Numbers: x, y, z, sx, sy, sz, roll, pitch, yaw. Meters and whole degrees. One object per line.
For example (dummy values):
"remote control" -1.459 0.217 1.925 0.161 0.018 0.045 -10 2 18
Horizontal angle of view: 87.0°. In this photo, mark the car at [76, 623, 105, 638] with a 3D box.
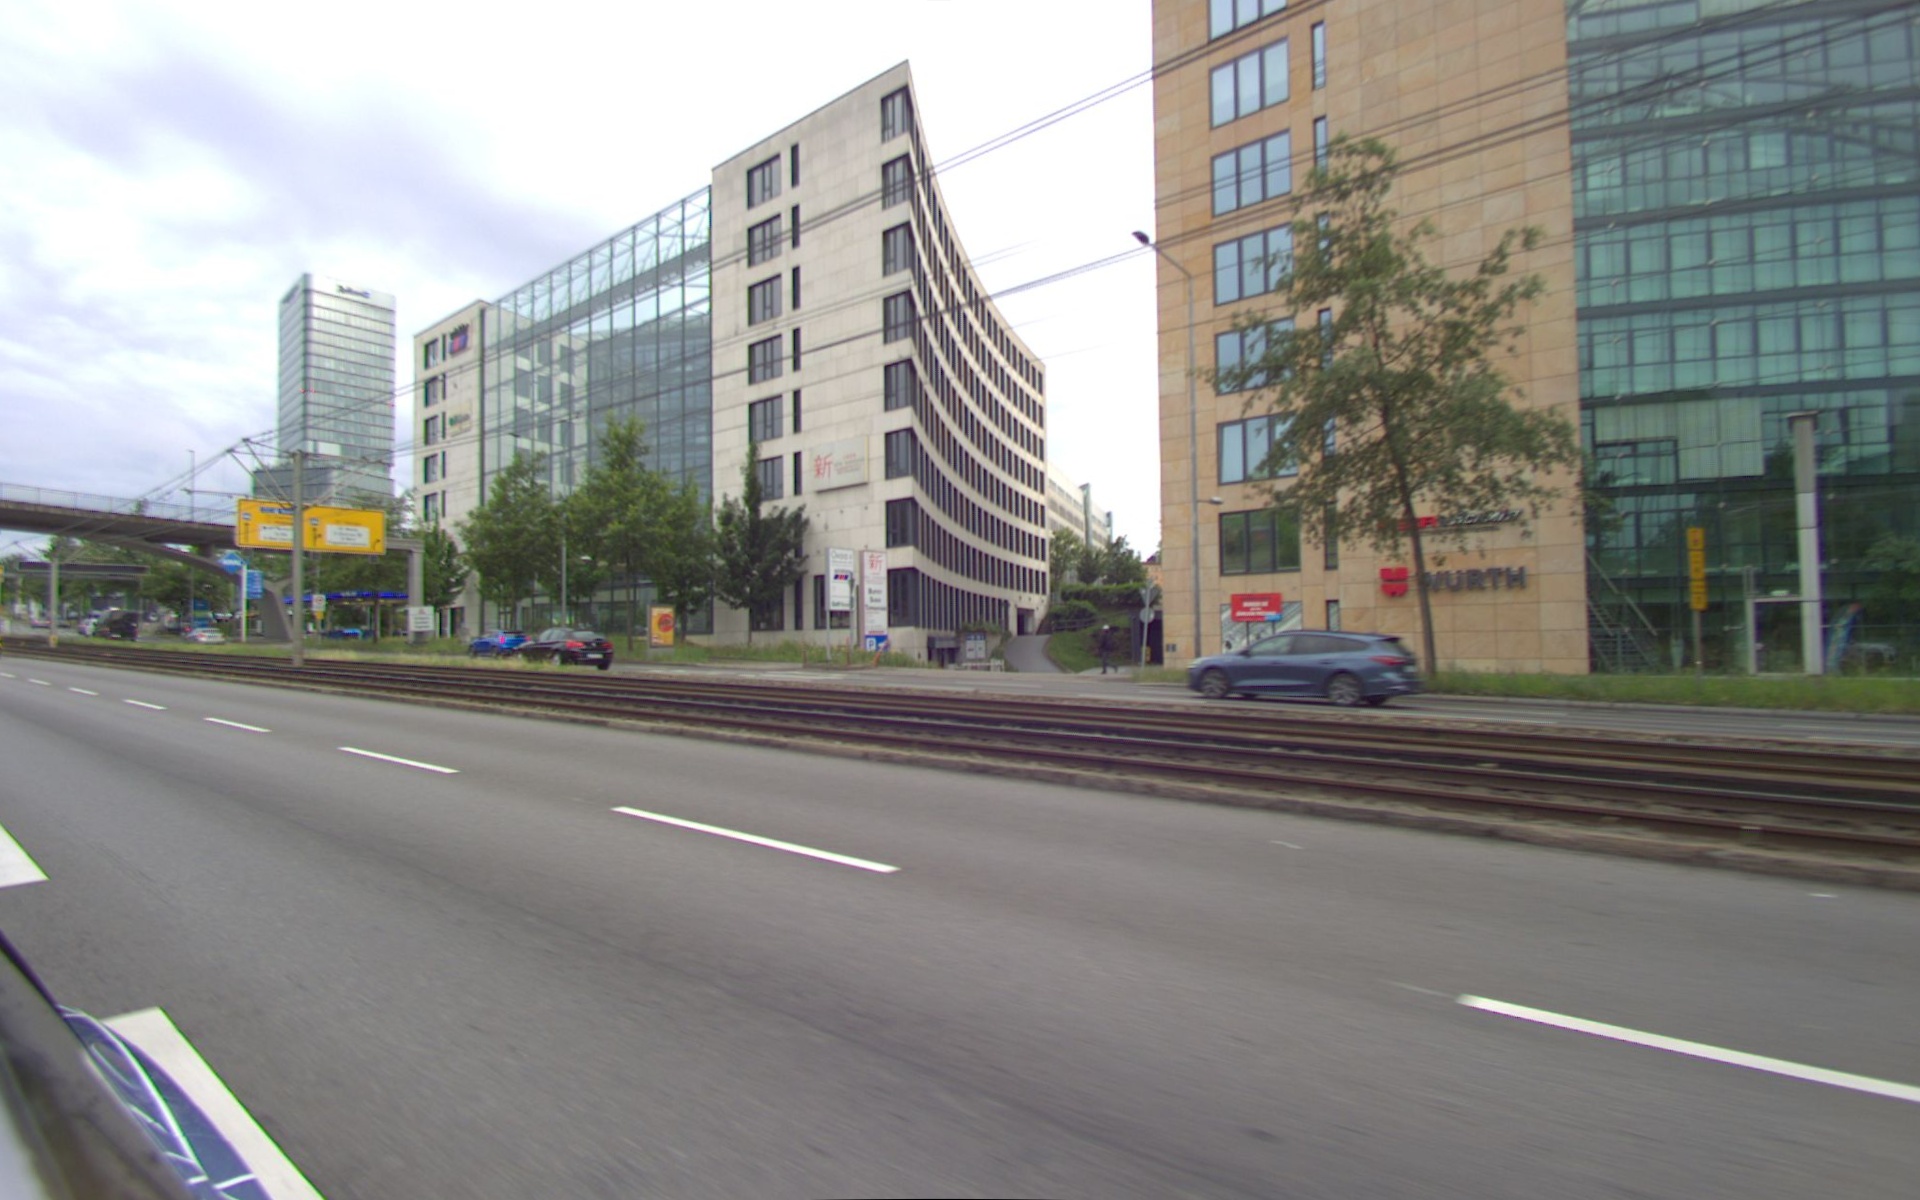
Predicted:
"car" -94.013 3.288 109.398 4.488 1.618 1.791 -1 0 41

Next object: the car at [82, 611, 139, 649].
"car" -66.531 2.341 79.232 5.605 2.839 2.360 -1 0 39

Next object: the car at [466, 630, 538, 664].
"car" -22.875 2.313 50.509 4.023 1.465 1.822 1 1 41

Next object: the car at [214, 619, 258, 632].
"car" -92.361 3.253 129.199 1.885 1.515 4.306 1 1 43

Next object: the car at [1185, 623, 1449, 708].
"car" 7.024 1.287 20.227 4.651 1.497 1.821 -2 -5 41

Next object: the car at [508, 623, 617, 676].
"car" -13.269 1.587 33.678 4.200 1.513 1.753 1 1 43

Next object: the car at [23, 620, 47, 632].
"car" -119.728 3.339 130.980 4.271 1.545 1.792 -1 0 40

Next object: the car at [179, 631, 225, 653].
"car" -56.619 3.120 75.535 4.813 1.545 1.742 -1 0 40

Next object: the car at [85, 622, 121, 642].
"car" -82.173 3.036 97.018 5.060 1.775 1.917 -1 0 42

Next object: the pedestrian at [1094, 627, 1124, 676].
"pedestrian" 5.175 1.765 35.121 0.831 1.643 0.635 0 1 38
